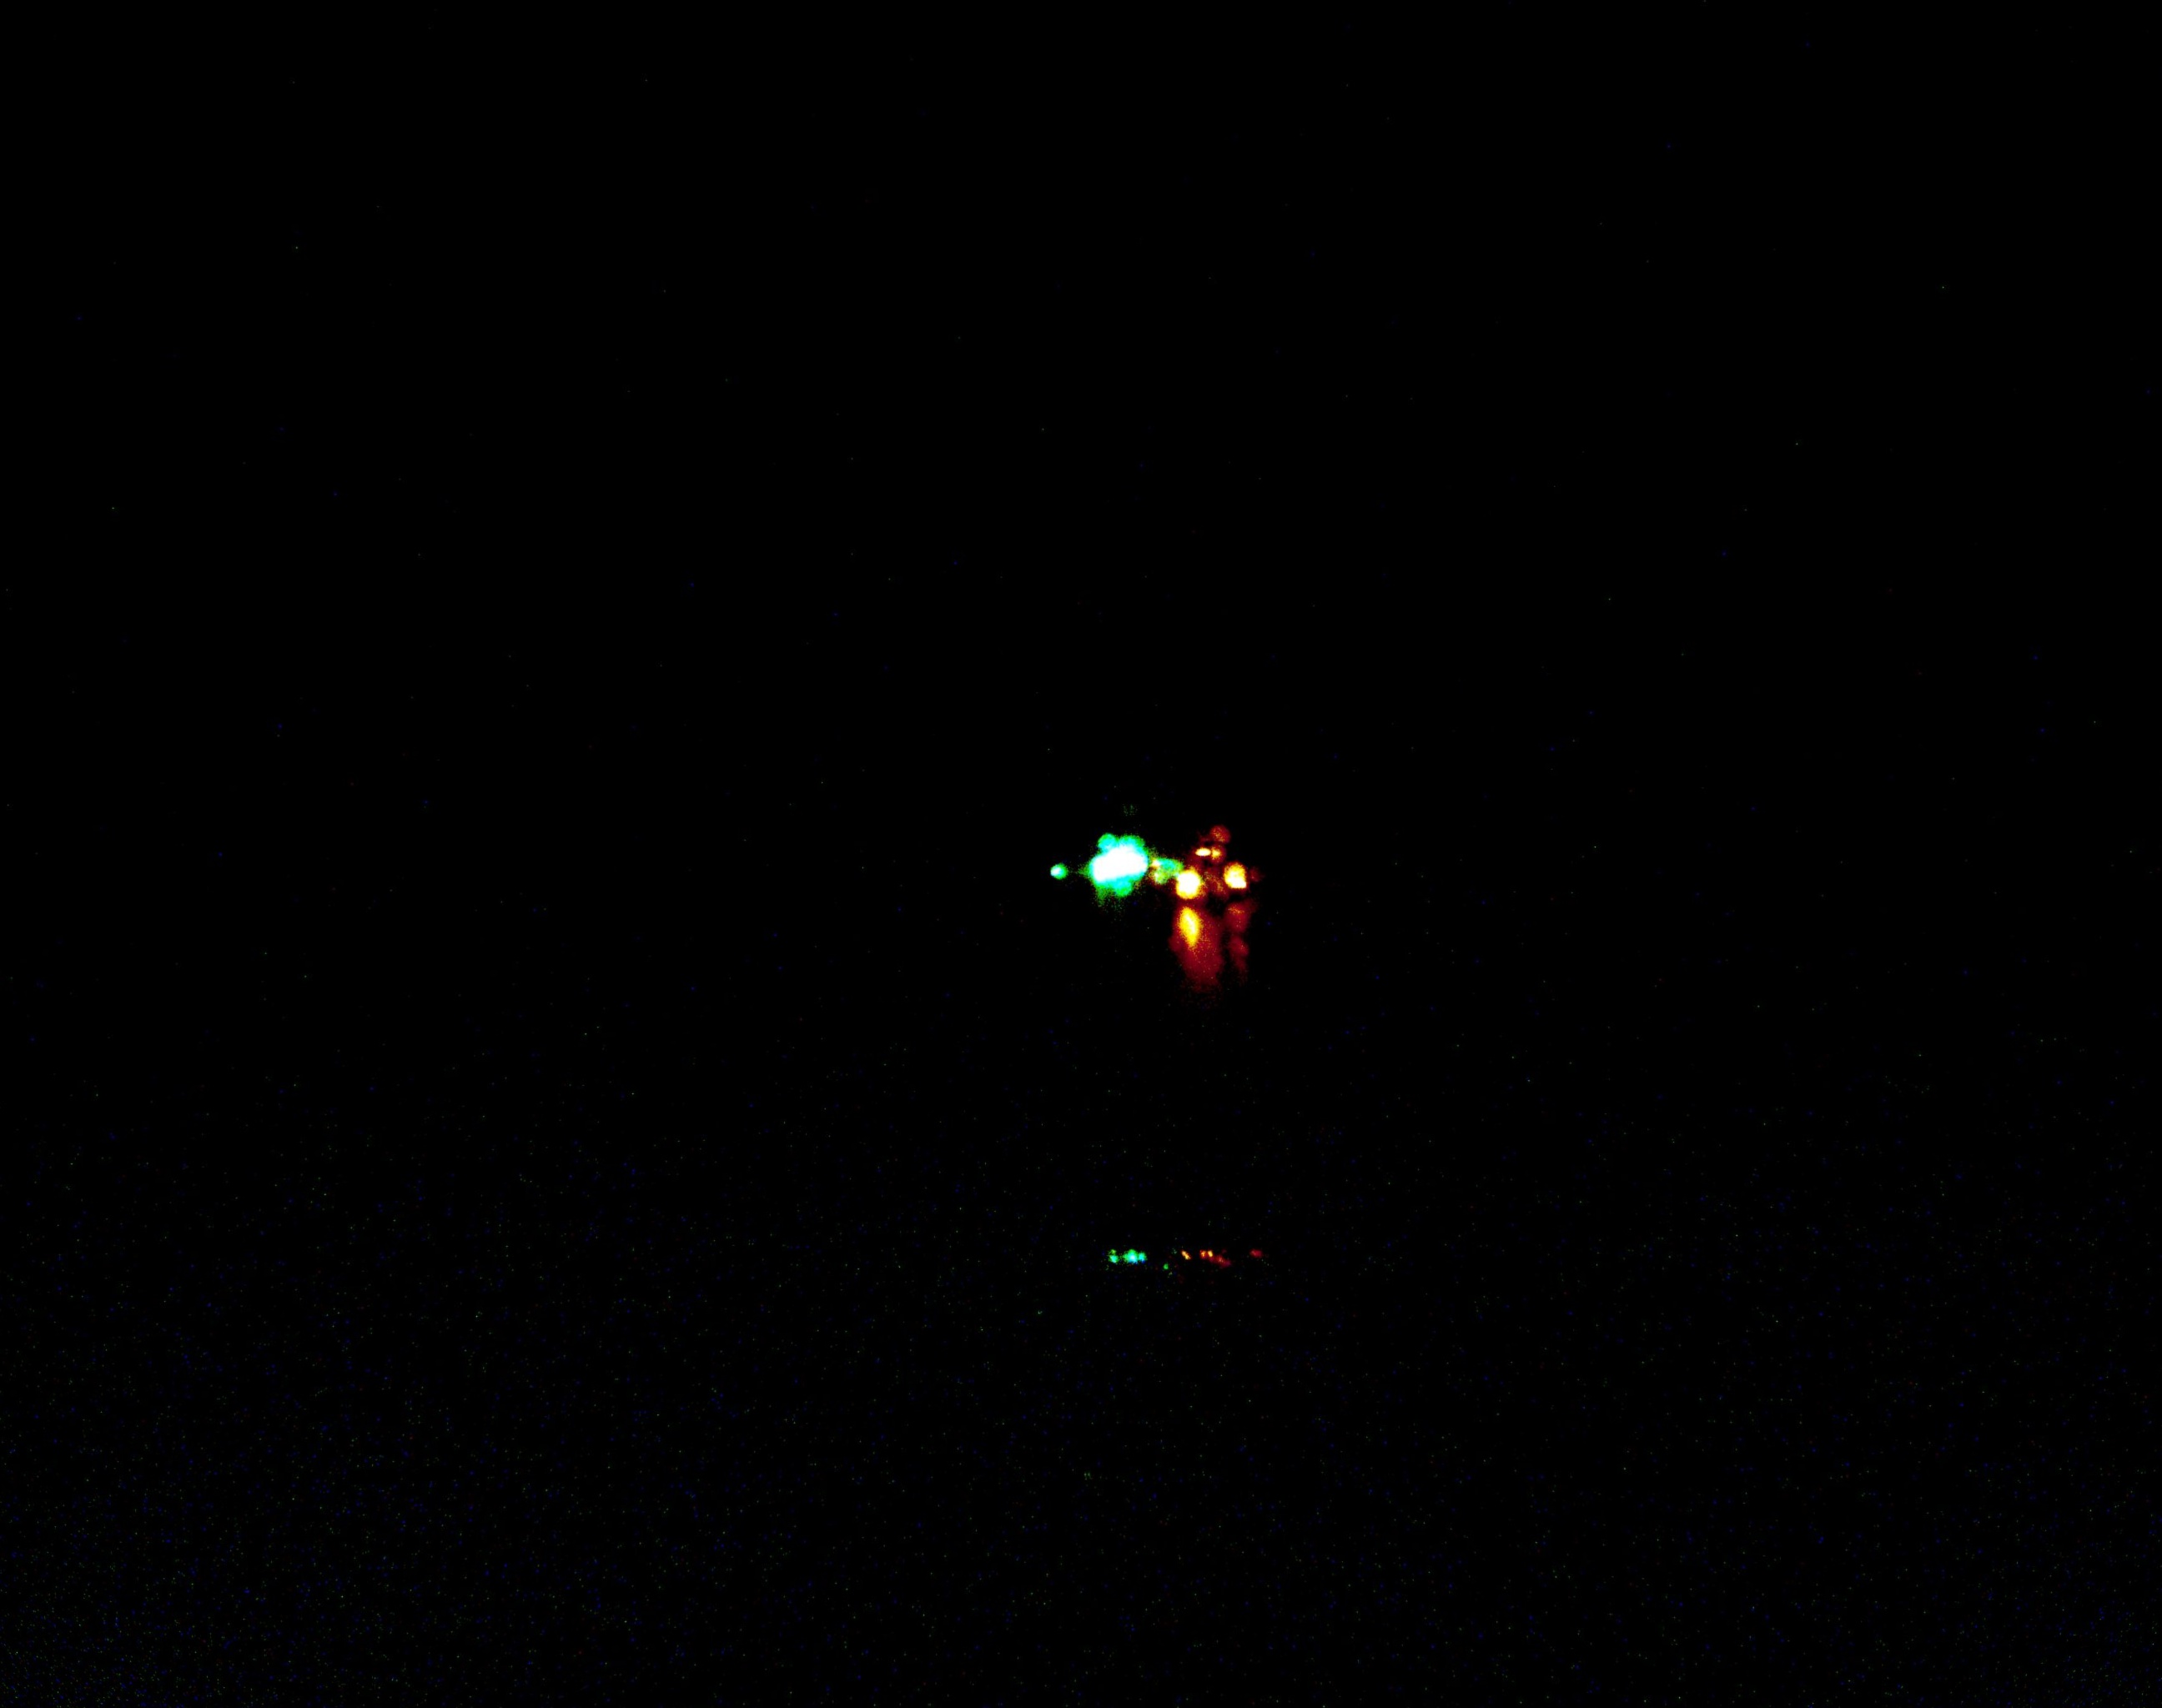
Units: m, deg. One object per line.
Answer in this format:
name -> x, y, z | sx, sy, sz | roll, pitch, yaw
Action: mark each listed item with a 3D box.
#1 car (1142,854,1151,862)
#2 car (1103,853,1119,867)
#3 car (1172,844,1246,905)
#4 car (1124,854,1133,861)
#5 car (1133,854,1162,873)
car -> 13.987, 0.884, 162.465 | 1.747, 1.623, 3.736 | -1, 0, 1
car -> 3.632, 0.712, 90.699 | 1.746, 1.623, 3.736 | -1, 0, 4
car -> 4.066, 0.612, 24.658 | 1.747, 1.749, 3.878 | -2, 0, 1
car -> 10.616, 0.820, 169.712 | 1.747, 1.623, 3.735 | -1, 0, -1
car -> 4.999, 0.689, 57.641 | 1.998, 1.385, 4.596 | -2, 0, 3
